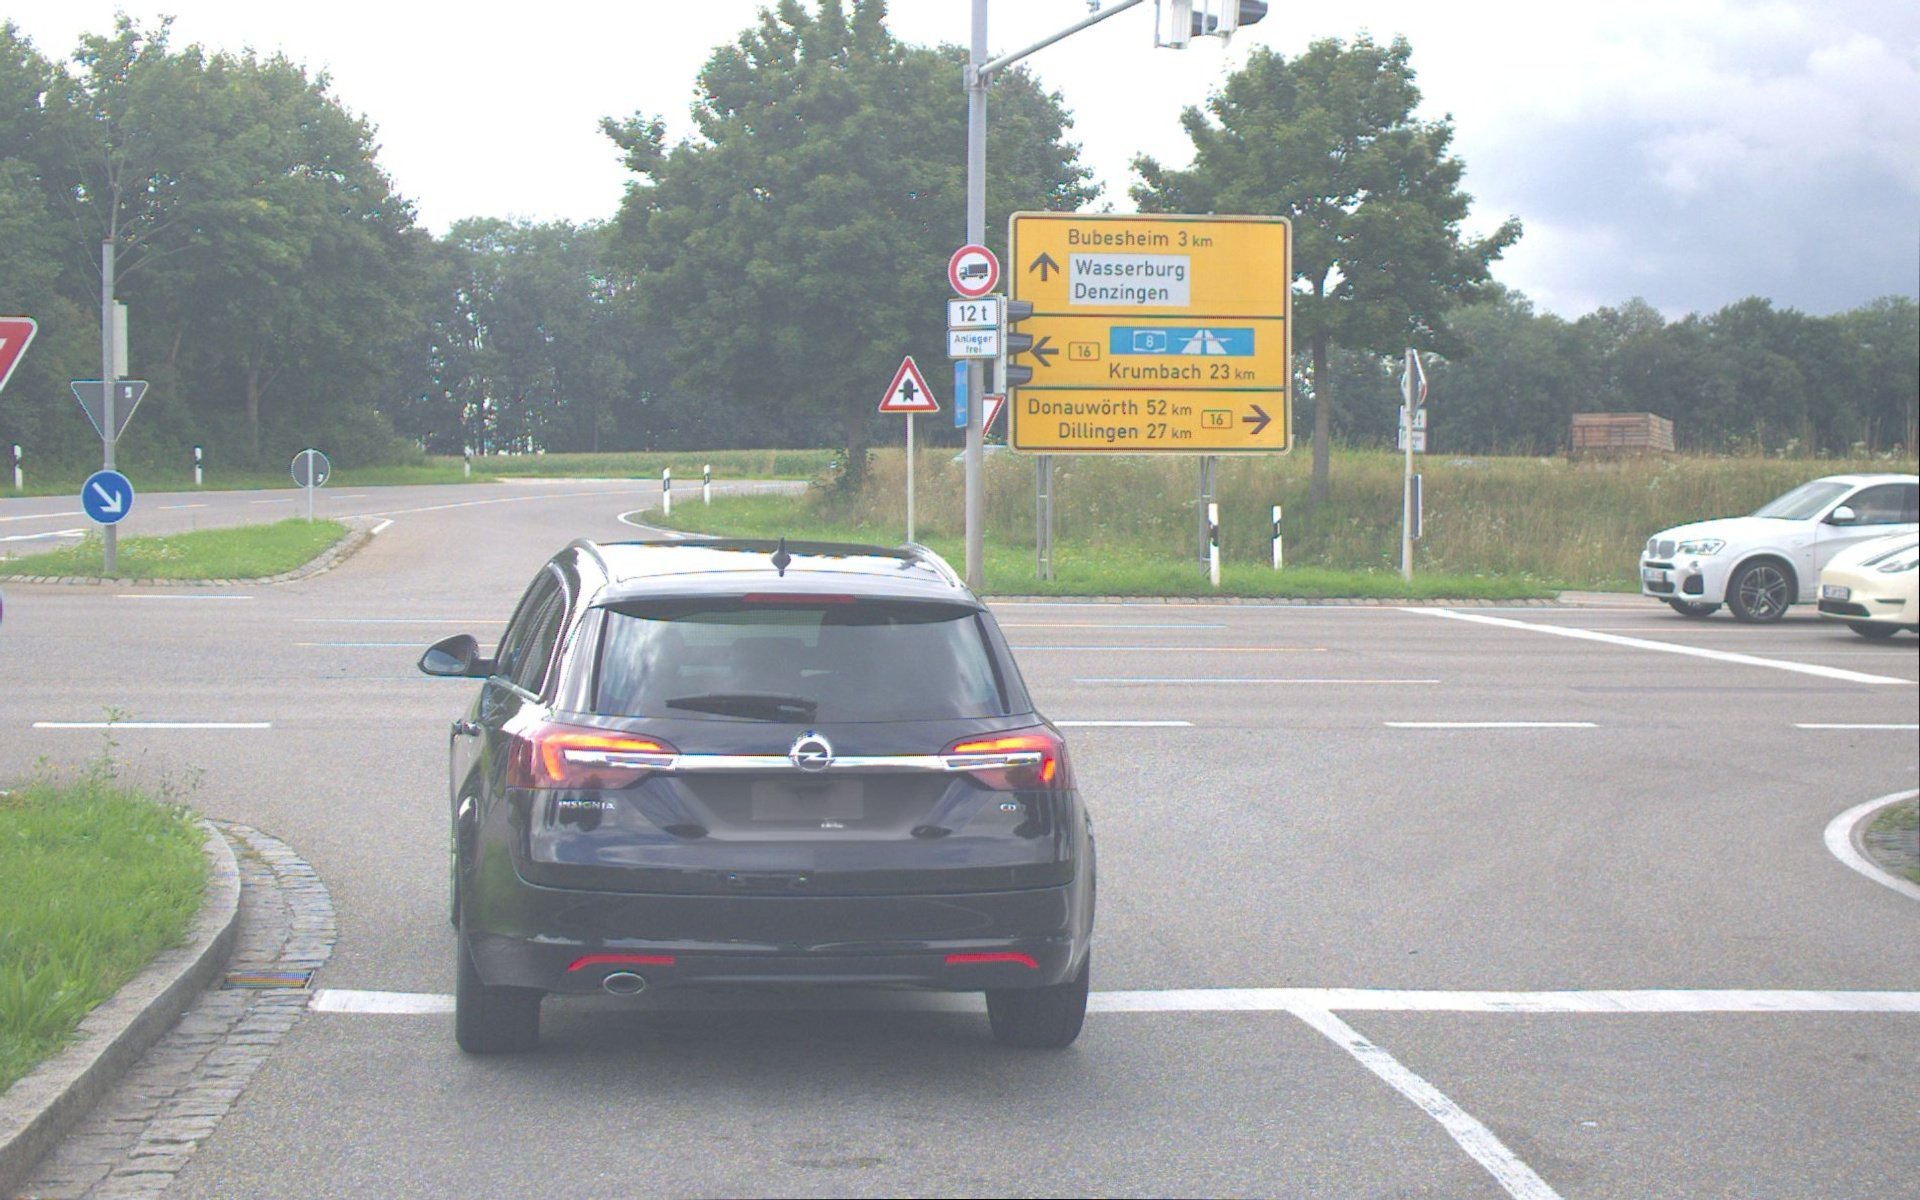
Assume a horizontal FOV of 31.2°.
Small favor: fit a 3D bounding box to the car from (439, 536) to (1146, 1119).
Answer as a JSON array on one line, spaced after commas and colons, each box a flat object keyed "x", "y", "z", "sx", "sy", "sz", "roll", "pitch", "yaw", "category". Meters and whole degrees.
[{"x": -0.727, "y": 0.549, "z": 10.959, "sx": 1.807, "sy": 1.446, "sz": 4.274, "roll": 1, "pitch": 1, "yaw": -8, "category": "car"}]

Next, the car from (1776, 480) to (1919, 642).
[{"x": 10.830, "y": -0.382, "z": 34.450, "sx": 4.731, "sy": 1.559, "sz": 2.001, "roll": 0, "pitch": 1, "yaw": -12, "category": "car"}]

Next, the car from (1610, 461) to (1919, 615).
[{"x": 9.624, "y": -0.685, "z": 38.197, "sx": 4.259, "sy": 1.623, "sz": 2.001, "roll": 0, "pitch": 1, "yaw": -13, "category": "car"}]
